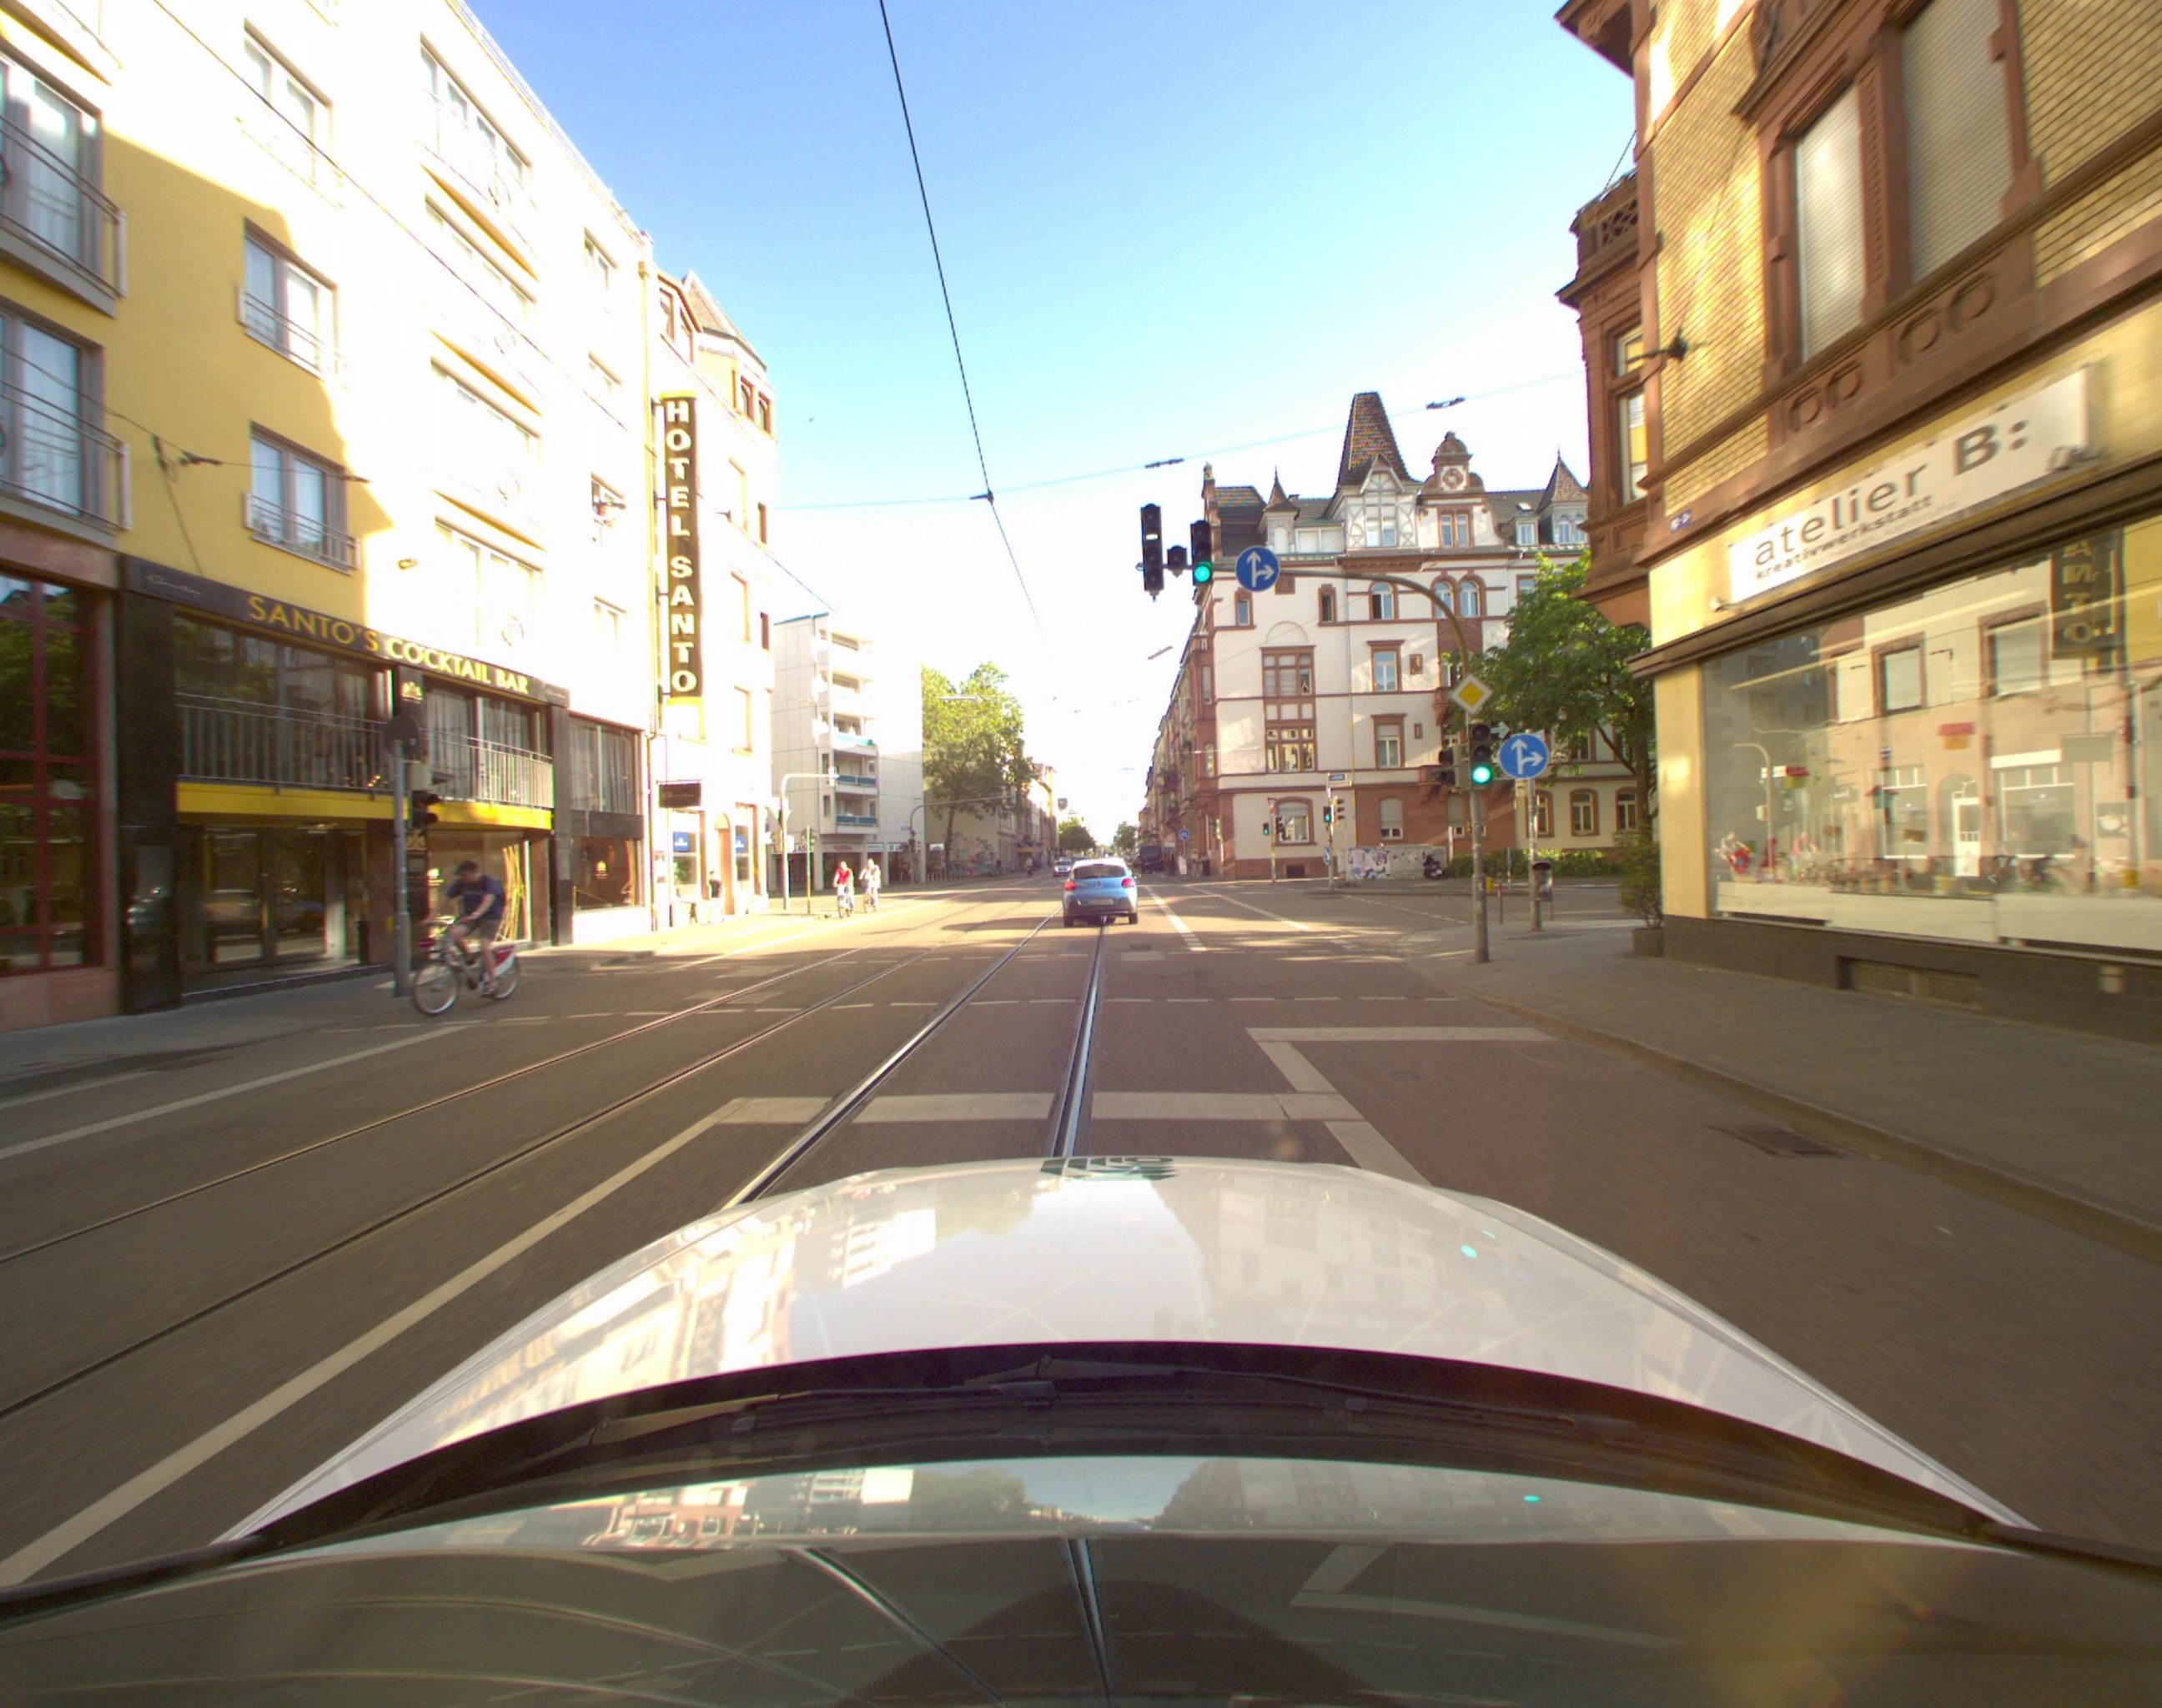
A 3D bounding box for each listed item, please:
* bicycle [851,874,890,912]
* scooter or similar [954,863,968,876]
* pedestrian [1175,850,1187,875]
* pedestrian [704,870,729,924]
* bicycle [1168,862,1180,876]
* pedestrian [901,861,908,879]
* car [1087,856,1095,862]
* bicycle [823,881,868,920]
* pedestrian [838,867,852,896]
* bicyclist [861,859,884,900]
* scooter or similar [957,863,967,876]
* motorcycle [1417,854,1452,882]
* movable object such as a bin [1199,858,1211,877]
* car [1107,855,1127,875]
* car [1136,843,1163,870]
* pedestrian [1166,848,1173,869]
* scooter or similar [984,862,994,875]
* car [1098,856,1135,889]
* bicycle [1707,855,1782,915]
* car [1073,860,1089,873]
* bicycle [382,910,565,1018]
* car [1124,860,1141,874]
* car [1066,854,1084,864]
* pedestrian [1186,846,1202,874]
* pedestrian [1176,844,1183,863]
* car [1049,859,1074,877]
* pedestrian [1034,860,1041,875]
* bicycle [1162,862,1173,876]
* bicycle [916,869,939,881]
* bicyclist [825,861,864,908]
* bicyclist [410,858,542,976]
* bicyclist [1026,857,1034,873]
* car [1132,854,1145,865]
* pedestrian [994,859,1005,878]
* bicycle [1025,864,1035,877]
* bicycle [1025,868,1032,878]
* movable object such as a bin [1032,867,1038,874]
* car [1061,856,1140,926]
[{"bbox_3d":[-7.128,1.305,27.705,0.728,1.183,2.062,-2,0,1],"label":"bicycle"},{"bbox_3d":[-11.460,1.476,77.702,1.228,1.258,0.765,-2,-1,-10],"label":"scooter or similar"},{"bbox_3d":[6.921,0.556,56.513,0.626,1.701,0.681,-2,0,-7],"label":"pedestrian"},{"bbox_3d":[-9.829,1.161,21.956,0.402,1.410,0.516,-2,-1,0],"label":"pedestrian"},{"bbox_3d":[6.650,1.045,58.297,0.430,0.947,1.760,-2,0,-5],"label":"bicycle"},{"bbox_3d":[-16.778,1.515,77.403,0.454,1.718,0.547,-2,-1,1],"label":"pedestrian"},{"bbox_3d":[2.763,1.343,216.957,1.986,1.651,4.001,-2,0,1],"label":"car"},{"bbox_3d":[-7.176,1.408,24.949,0.728,1.065,2.062,-2,0,1],"label":"bicycle"},{"bbox_3d":[-12.625,1.472,43.619,0.541,1.552,0.516,-2,-1,0],"label":"pedestrian"},{"bbox_3d":[-7.119,0.864,27.829,0.588,1.376,0.679,-2,-1,0],"label":"bicyclist"},{"bbox_3d":[-11.542,1.521,78.770,0.937,1.222,0.765,-2,-1,-10],"label":"scooter or similar"},{"bbox_3d":[16.124,0.605,37.196,0.609,1.124,2.391,-2,2,1],"label":"motorcycle"},{"bbox_3d":[8.016,0.865,52.632,0.664,1.153,0.594,-2,-1,0],"label":"movable object such as a bin"},{"bbox_3d":[3.813,1.158,87.695,1.986,2.013,4.001,-2,0,1],"label":"car"},{"bbox_3d":[6.532,0.212,78.679,2.263,2.437,5.722,-2,0,2],"label":"car"},{"bbox_3d":[8.886,0.459,81.503,0.583,2.014,0.823,-2,-1,1],"label":"pedestrian"},{"bbox_3d":[-8.903,1.407,78.967,0.785,1.272,1.075,0,1,1],"label":"scooter or similar"},{"bbox_3d":[1.709,0.889,40.451,1.661,1.478,4.001,-2,0,1],"label":"car"},{"bbox_3d":[13.476,0.626,16.598,0.610,1.143,2.132,-2,-3,24],"label":"bicycle"},{"bbox_3d":[0.012,1.686,110.617,1.986,1.744,4.563,-2,0,1],"label":"car"},{"bbox_3d":[-7.628,1.334,10.377,0.728,1.088,2.062,-2,0,1],"label":"bicycle"},{"bbox_3d":[6.701,1.632,106.061,1.998,1.672,4.808,-2,0,2],"label":"car"},{"bbox_3d":[-1.646,1.352,219.578,4.328,2.581,2.192,-2,0,-24],"label":"car"},{"bbox_3d":[7.537,0.413,54.337,0.703,1.782,0.673,-8,-1,0],"label":"pedestrian"},{"bbox_3d":[9.378,-0.059,77.445,0.551,1.782,0.606,-1,-1,1],"label":"pedestrian"},{"bbox_3d":[-1.697,1.226,72.153,1.978,1.502,4.309,-2,0,1],"label":"car"},{"bbox_3d":[-5.364,1.666,100.971,0.708,1.764,0.570,-2,-1,1],"label":"pedestrian"},{"bbox_3d":[6.169,1.062,58.242,0.430,0.947,1.760,-2,0,-5],"label":"bicycle"},{"bbox_3d":[-13.447,1.821,71.248,1.898,1.034,0.669,-2,-1,28],"label":"bicycle"},{"bbox_3d":[-7.206,0.916,24.874,0.733,1.381,1.469,-2,-1,1],"label":"bicyclist"},{"bbox_3d":[-7.638,0.757,10.347,0.721,1.381,1.228,-2,-1,1],"label":"bicyclist"},{"bbox_3d":[-4.729,1.014,75.321,0.680,1.483,0.779,-2,0,1],"label":"bicyclist"},{"bbox_3d":[9.178,0.805,129.903,1.996,1.672,4.396,-2,0,4],"label":"car"},{"bbox_3d":[-7.857,1.406,78.254,0.678,1.765,1.029,-2,-1,13],"label":"pedestrian"},{"bbox_3d":[-4.725,1.501,75.307,0.690,1.120,2.084,-2,0,1],"label":"bicycle"},{"bbox_3d":[-6.896,2.461,105.918,0.621,1.159,2.057,-2,0,-11],"label":"bicycle"},{"bbox_3d":[-5.756,2.058,101.672,0.608,0.914,0.695,-2,0,2],"label":"movable object such as a bin"},{"bbox_3d":[0.379,0.821,19.770,1.669,1.477,3.997,-2,0,-1],"label":"car"}]
